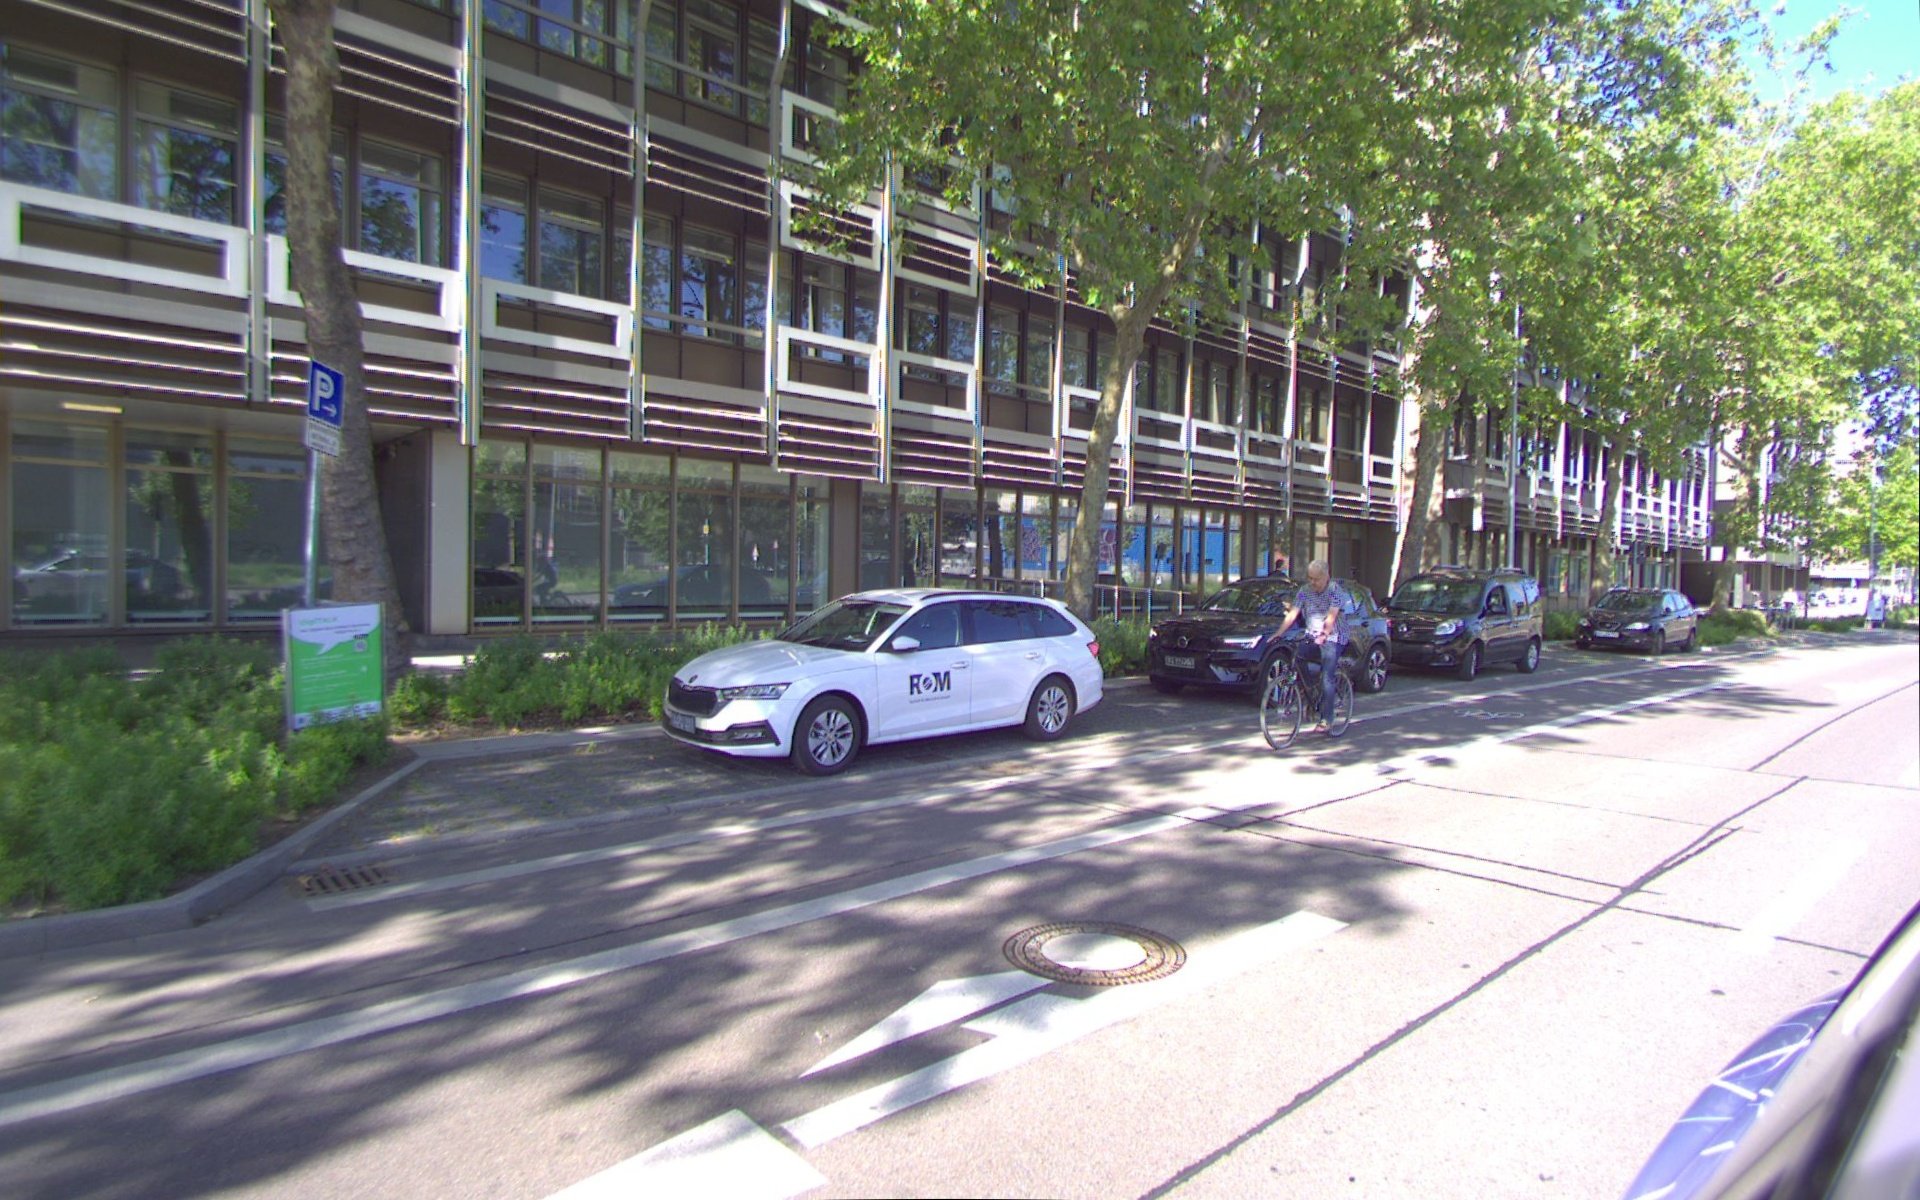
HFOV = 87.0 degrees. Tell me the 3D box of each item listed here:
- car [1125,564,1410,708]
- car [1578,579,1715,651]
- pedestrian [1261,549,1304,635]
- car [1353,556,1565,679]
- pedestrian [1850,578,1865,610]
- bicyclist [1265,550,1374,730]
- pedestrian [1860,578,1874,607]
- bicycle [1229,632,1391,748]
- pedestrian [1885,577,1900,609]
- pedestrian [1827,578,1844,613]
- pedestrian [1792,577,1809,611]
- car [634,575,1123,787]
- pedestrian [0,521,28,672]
[{"bbox_3d":[4.352,0.393,13.981,4.262,1.653,1.751,0,3,-41],"label":"car"},{"bbox_3d":[17.063,0.331,25.081,4.262,1.573,1.751,0,3,-41],"label":"car"},{"bbox_3d":[7.783,-0.202,24.427,0.615,2.039,0.741,0,1,-40],"label":"pedestrian"},{"bbox_3d":[8.738,0.229,17.572,4.262,1.843,1.751,0,3,-41],"label":"car"},{"bbox_3d":[52.243,-0.340,58.913,0.559,1.863,0.591,0,1,-41],"label":"pedestrian"},{"bbox_3d":[3.606,0.378,10.139,0.838,1.709,0.710,0,-1,-42],"label":"bicyclist"},{"bbox_3d":[57.633,-0.476,64.283,0.559,1.863,0.591,0,1,-41],"label":"pedestrian"},{"bbox_3d":[3.500,0.841,10.046,1.891,1.006,0.710,0,-1,-43],"label":"bicycle"},{"bbox_3d":[55.000,-0.417,59.706,0.559,1.863,0.591,0,1,-41],"label":"pedestrian"},{"bbox_3d":[47.956,-0.240,55.461,0.684,1.863,0.591,0,1,-42],"label":"pedestrian"},{"bbox_3d":[46.704,-0.328,56.255,0.685,1.863,0.591,0,1,-42],"label":"pedestrian"},{"bbox_3d":[-0.585,0.582,9.651,4.481,1.508,1.751,0,3,-42],"label":"car"},{"bbox_3d":[-10.787,-0.056,10.952,0.991,1.620,0.668,0,4,-41],"label":"pedestrian"}]
